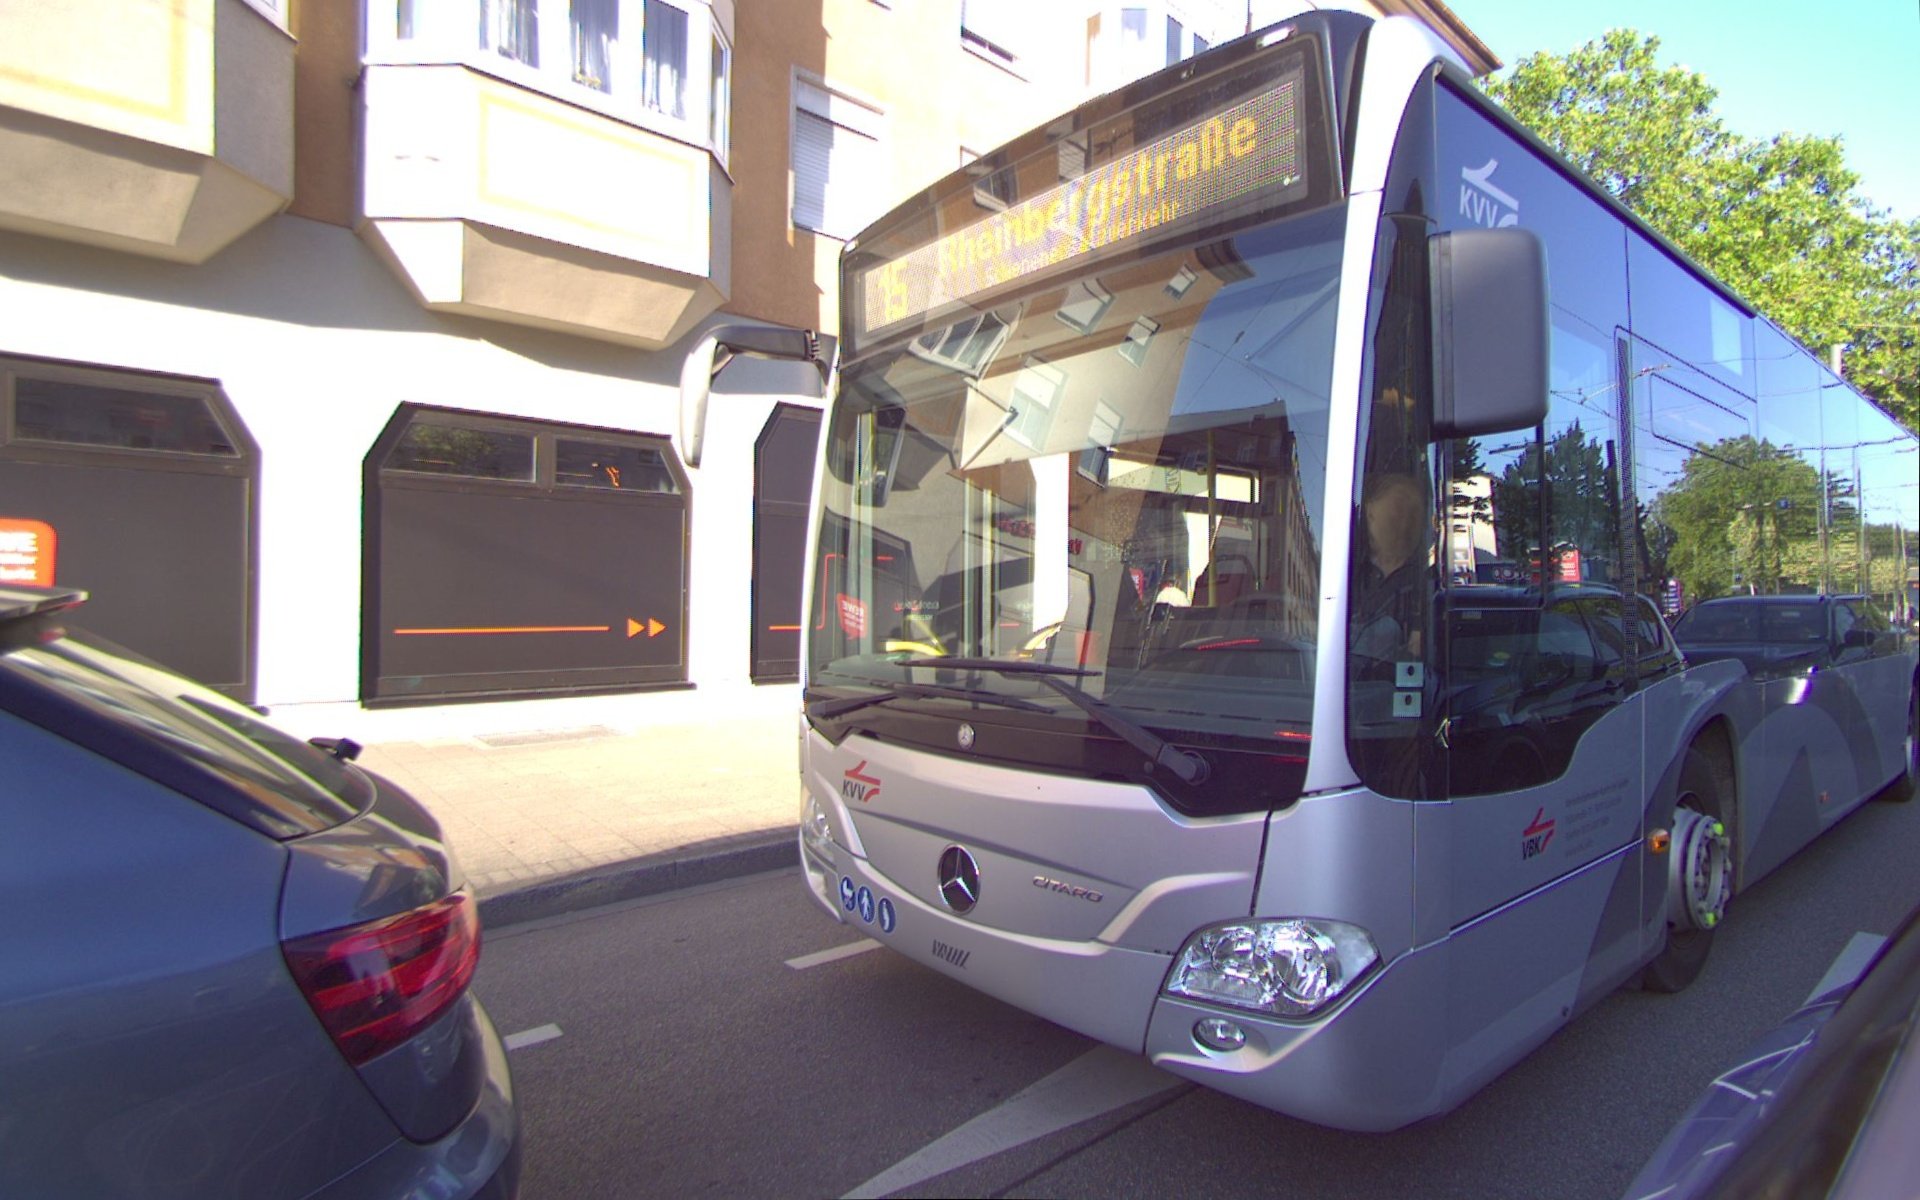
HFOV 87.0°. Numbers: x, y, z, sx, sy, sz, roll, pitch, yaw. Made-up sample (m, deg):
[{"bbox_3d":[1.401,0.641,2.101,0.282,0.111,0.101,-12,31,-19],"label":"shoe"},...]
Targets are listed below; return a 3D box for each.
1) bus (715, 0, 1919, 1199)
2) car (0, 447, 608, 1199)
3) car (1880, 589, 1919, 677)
[{"bbox_3d":[6.479,-0.188,8.724,17.432,3.189,2.771,0,1,-41],"label":"bus"},{"bbox_3d":[-2.588,0.641,0.652,4.151,1.572,1.700,0,-1,-41],"label":"car"},{"bbox_3d":[19.482,0.612,19.891,3.759,1.628,1.747,-1,0,-43],"label":"car"}]
